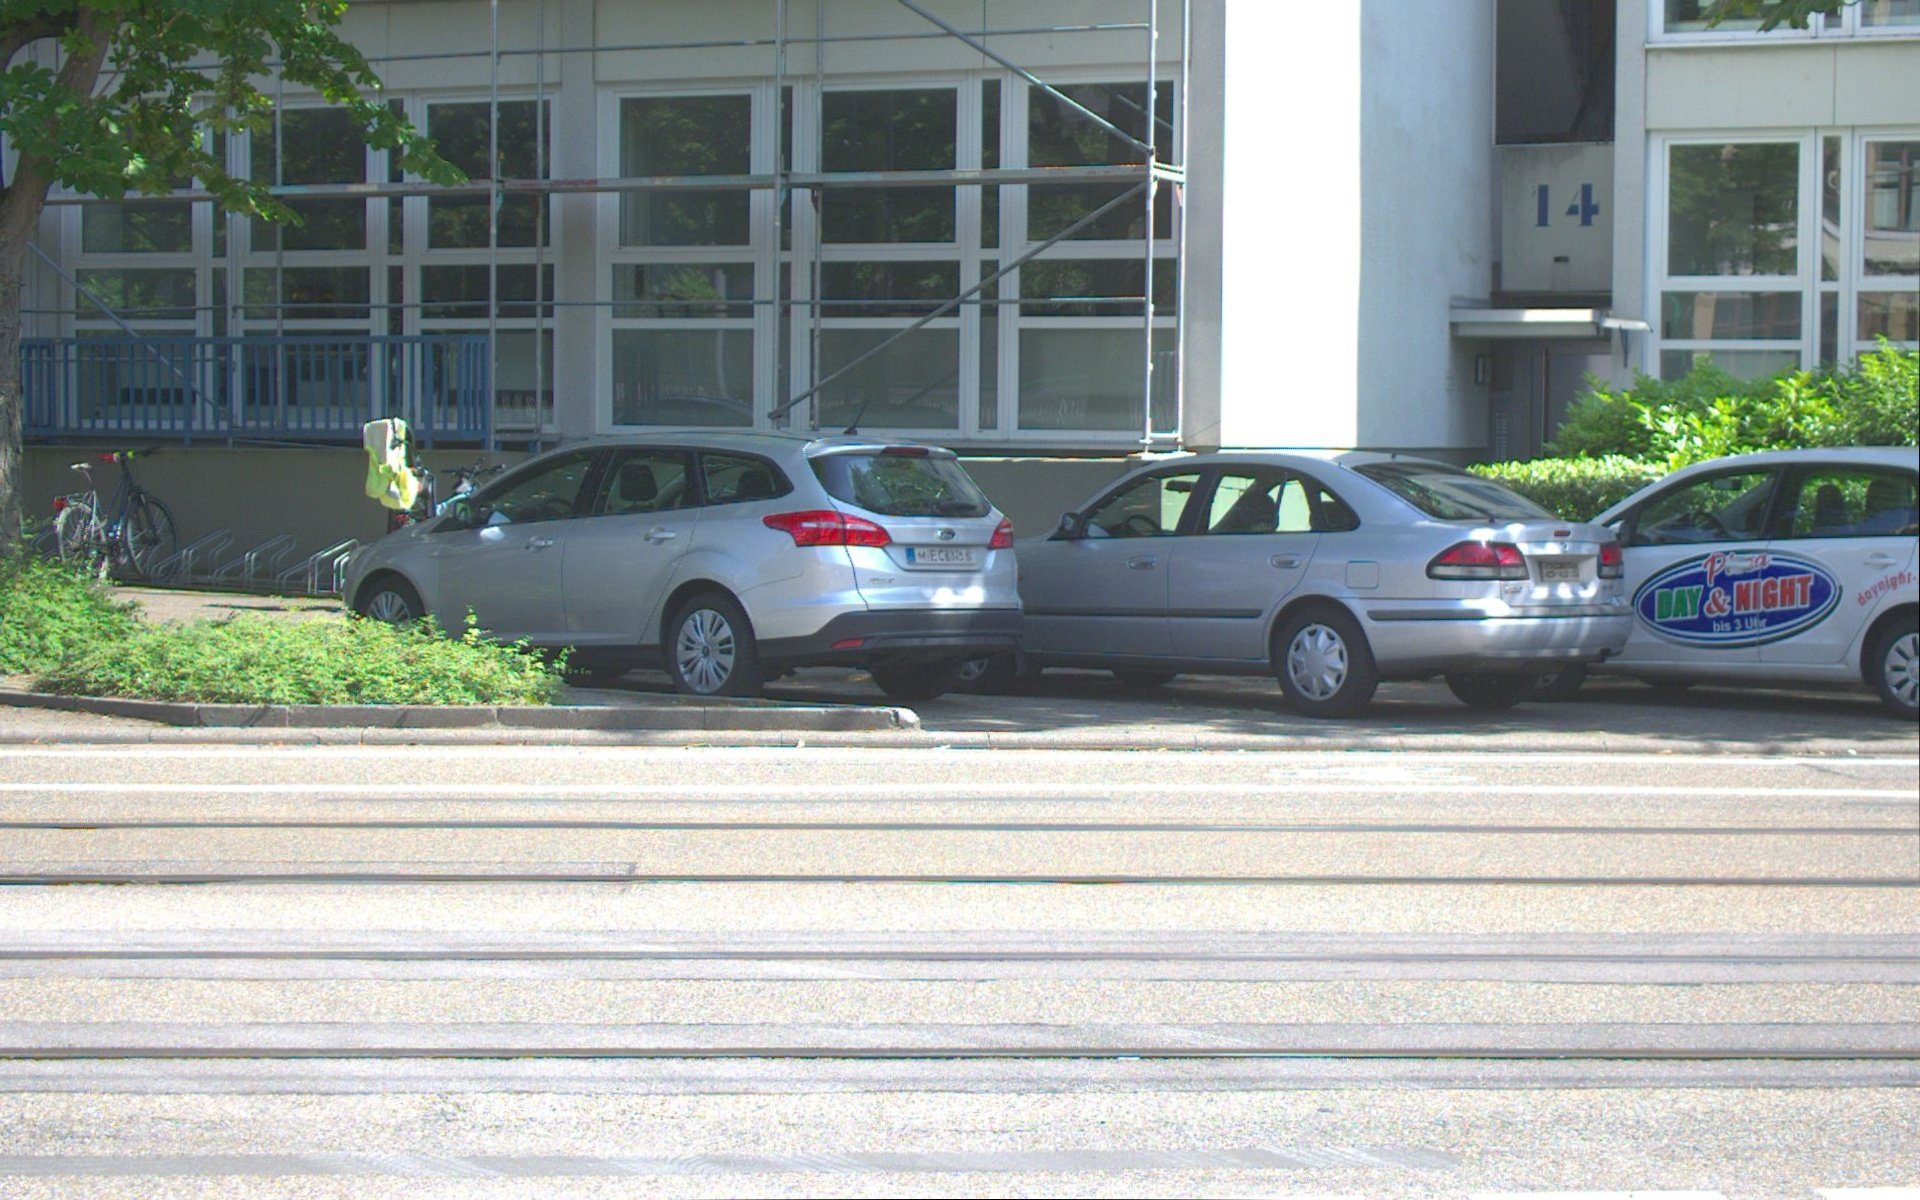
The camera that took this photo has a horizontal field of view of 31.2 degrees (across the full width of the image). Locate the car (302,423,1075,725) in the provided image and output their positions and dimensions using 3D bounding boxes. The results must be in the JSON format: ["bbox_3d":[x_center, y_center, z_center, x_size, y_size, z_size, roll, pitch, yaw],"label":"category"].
[{"bbox_3d":[-1.631,-0.231,19.423,4.432,1.481,1.780,3,4,42],"label":"car"}]

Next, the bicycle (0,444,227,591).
[{"bbox_3d":[-6.545,-0.664,26.679,0.741,1.082,2.202,1,3,15],"label":"bicycle"}]

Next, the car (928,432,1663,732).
[{"bbox_3d":[1.796,-0.180,19.310,3.943,1.481,1.609,3,4,44],"label":"car"}]

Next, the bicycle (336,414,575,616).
[{"bbox_3d":[-3.771,-0.661,25.881,0.662,1.448,2.087,2,3,28],"label":"bicycle"}]

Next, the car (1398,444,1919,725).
[{"bbox_3d":[4.593,-0.140,19.662,3.942,1.481,1.609,2,3,43],"label":"car"}]
